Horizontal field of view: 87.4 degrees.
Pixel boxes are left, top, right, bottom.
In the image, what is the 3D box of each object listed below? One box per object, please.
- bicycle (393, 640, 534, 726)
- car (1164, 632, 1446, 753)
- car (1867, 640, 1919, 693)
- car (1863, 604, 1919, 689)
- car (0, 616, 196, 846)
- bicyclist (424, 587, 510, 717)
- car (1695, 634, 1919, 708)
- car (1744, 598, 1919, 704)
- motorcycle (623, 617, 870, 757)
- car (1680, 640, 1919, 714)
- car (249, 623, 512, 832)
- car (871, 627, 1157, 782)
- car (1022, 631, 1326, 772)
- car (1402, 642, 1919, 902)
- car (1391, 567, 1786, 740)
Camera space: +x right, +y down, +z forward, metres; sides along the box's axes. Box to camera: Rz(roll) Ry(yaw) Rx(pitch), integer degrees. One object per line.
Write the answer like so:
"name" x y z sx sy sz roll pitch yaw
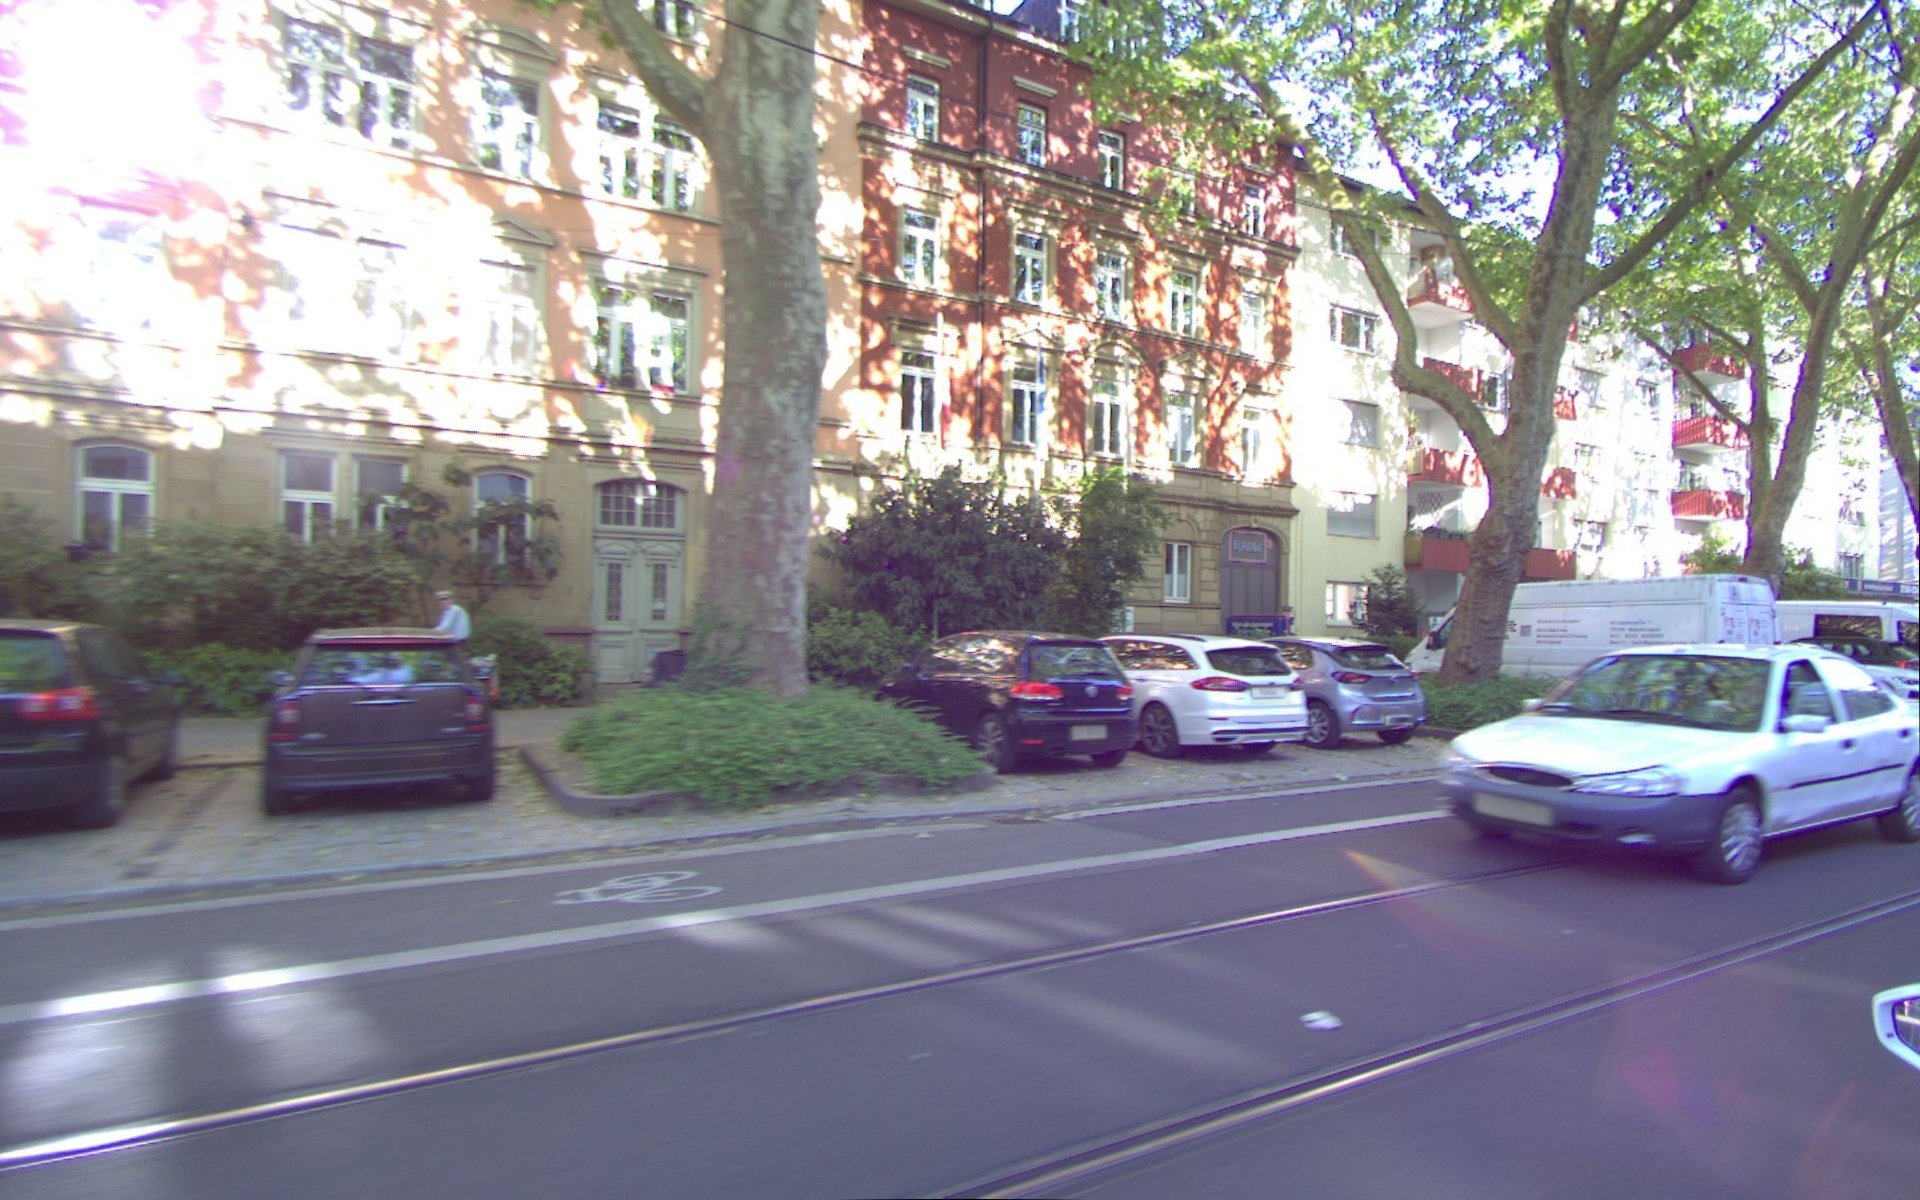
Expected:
"bicycle" -7.141 1.172 14.460 1.759 1.154 0.739 2 -1 -30
"car" 4.844 1.233 14.629 1.682 1.451 3.795 1 -1 -27
"car" 28.523 1.918 28.327 1.849 1.485 4.003 2 -1 -28
"car" 30.578 1.417 30.096 2.060 2.601 4.916 2 -2 -32
"car" -7.459 0.878 8.065 1.751 1.479 3.964 2 -2 -33
"bicyclist" -7.107 0.735 14.482 1.036 1.786 0.826 1 -1 -30
"car" 20.994 1.666 24.720 1.850 1.559 4.351 2 -1 -29
"car" 23.300 1.252 25.243 2.032 2.510 5.337 1 -2 -29
"motorcycle" -2.777 1.106 13.246 2.976 1.653 1.047 2 0 -30
"car" 19.253 1.666 22.764 1.910 1.403 4.390 2 -1 -29
"car" -5.213 0.970 9.342 1.682 1.479 3.972 1 -2 -27
"car" 0.469 1.094 11.940 1.683 1.479 3.778 1 -1 -28
"car" 2.641 1.203 13.318 1.808 1.516 3.970 2 -2 -28
"car" 5.392 1.023 7.317 4.416 1.376 1.710 2 -2 -30
"car" 10.889 0.831 18.016 2.136 2.570 5.716 1 -1 -29
